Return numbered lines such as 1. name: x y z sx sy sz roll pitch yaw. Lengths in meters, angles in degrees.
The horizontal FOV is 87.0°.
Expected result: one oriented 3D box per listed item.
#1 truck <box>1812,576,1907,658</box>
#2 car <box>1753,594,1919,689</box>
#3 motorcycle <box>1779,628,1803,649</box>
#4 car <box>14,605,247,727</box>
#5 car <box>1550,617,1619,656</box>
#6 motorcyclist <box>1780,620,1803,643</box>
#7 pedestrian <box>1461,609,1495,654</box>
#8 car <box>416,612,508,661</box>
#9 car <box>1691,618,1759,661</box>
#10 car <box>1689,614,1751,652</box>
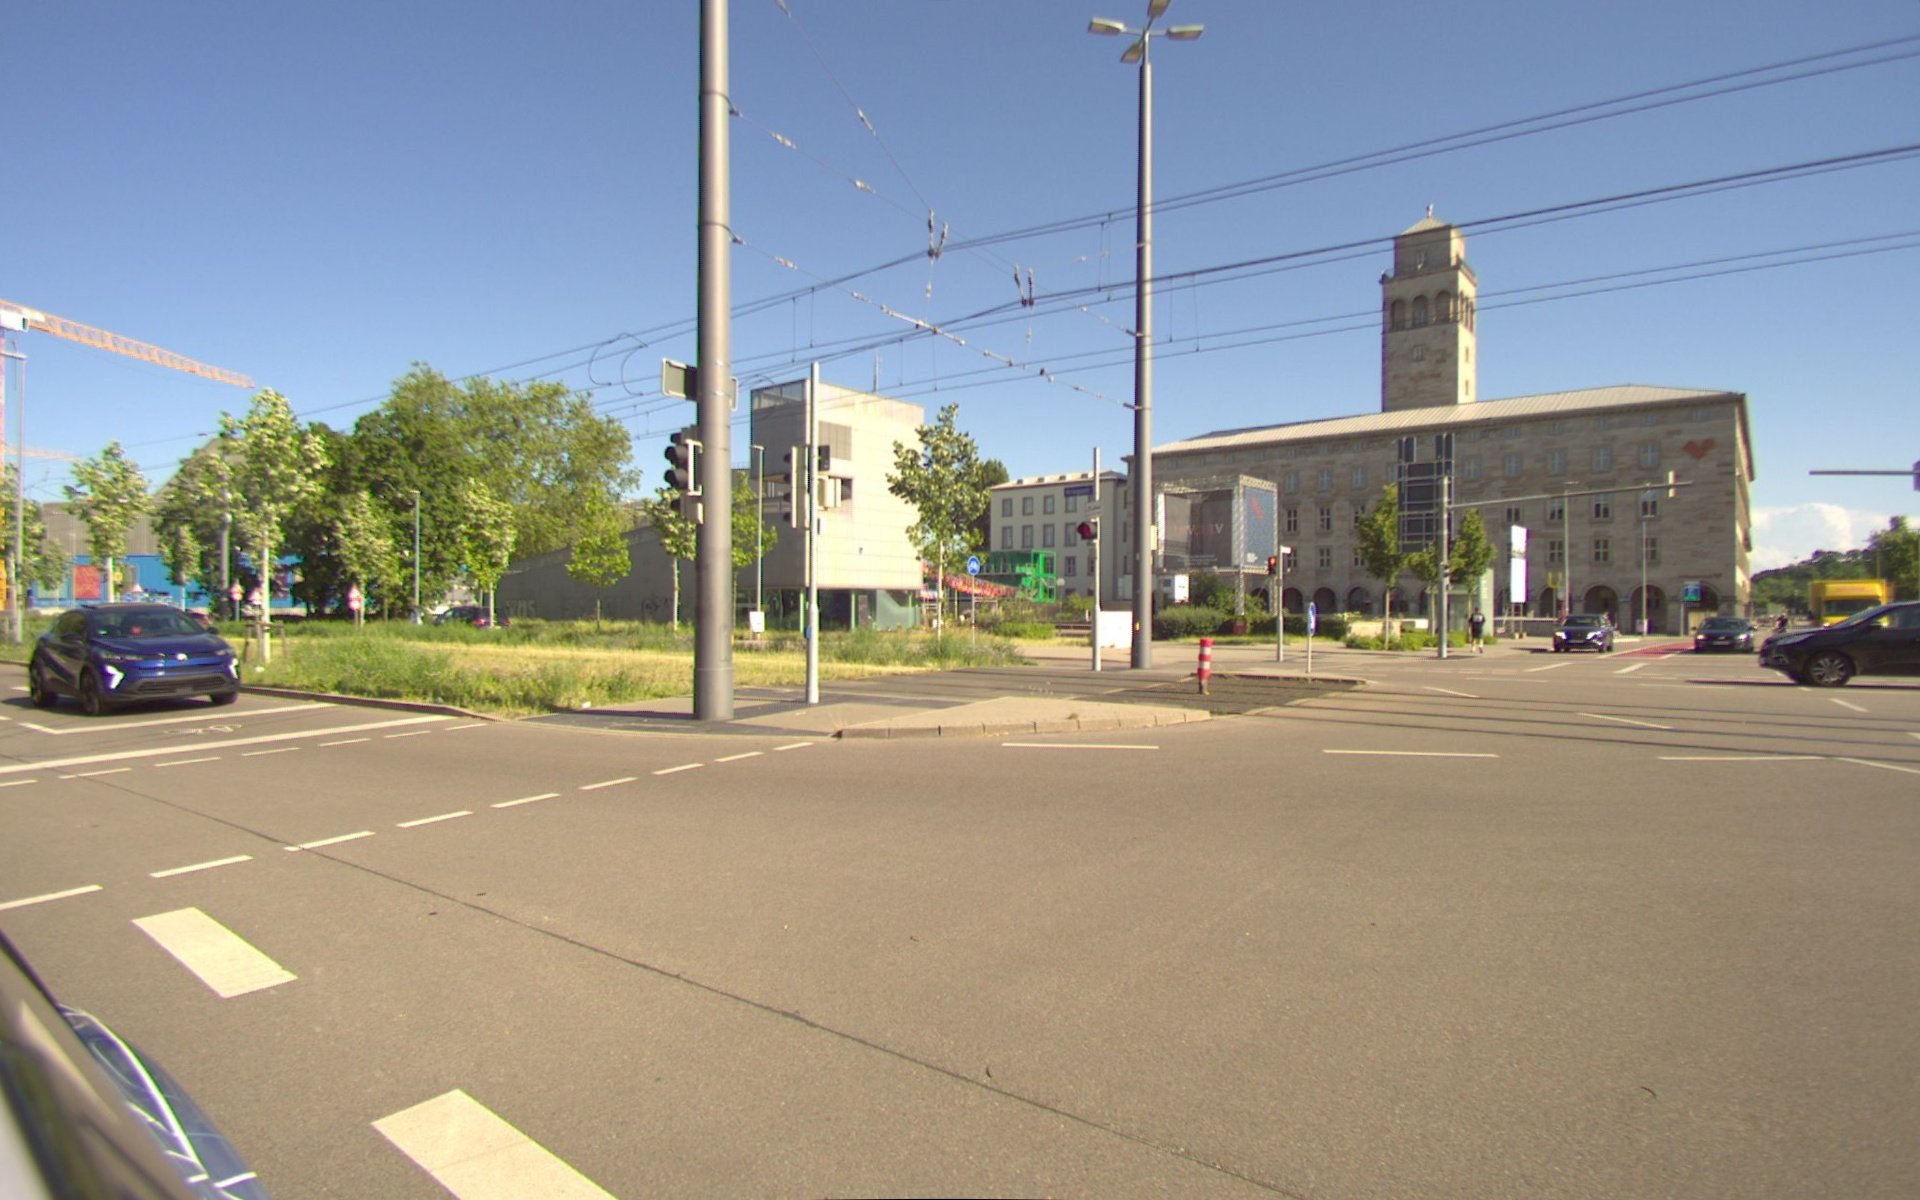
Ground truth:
1. truck: 34.358 0.627 38.821 2.461 2.814 7.925 -1 -1 41
2. car: 18.108 0.764 19.199 4.541 1.720 1.980 -1 -1 30
3. motorcycle: 39.586 1.820 48.214 0.793 0.917 3.216 0 -1 38
4. car: -12.808 0.916 15.555 4.079 1.600 1.755 -1 1 36
5. car: 26.658 1.506 43.125 1.902 1.551 3.946 -1 -1 41
6. motorcyclist: 39.384 1.481 47.958 0.793 1.090 1.006 0 -1 38
7. pedestrian: 20.170 1.237 39.404 0.946 1.698 1.181 -3 -1 36
8. car: -21.010 1.509 42.669 3.992 1.970 1.854 -1 -1 36
9. car: 30.153 1.509 39.860 1.902 1.551 3.946 -1 -1 41
10. car: 33.182 1.395 44.175 1.902 1.551 3.946 -1 -1 41
